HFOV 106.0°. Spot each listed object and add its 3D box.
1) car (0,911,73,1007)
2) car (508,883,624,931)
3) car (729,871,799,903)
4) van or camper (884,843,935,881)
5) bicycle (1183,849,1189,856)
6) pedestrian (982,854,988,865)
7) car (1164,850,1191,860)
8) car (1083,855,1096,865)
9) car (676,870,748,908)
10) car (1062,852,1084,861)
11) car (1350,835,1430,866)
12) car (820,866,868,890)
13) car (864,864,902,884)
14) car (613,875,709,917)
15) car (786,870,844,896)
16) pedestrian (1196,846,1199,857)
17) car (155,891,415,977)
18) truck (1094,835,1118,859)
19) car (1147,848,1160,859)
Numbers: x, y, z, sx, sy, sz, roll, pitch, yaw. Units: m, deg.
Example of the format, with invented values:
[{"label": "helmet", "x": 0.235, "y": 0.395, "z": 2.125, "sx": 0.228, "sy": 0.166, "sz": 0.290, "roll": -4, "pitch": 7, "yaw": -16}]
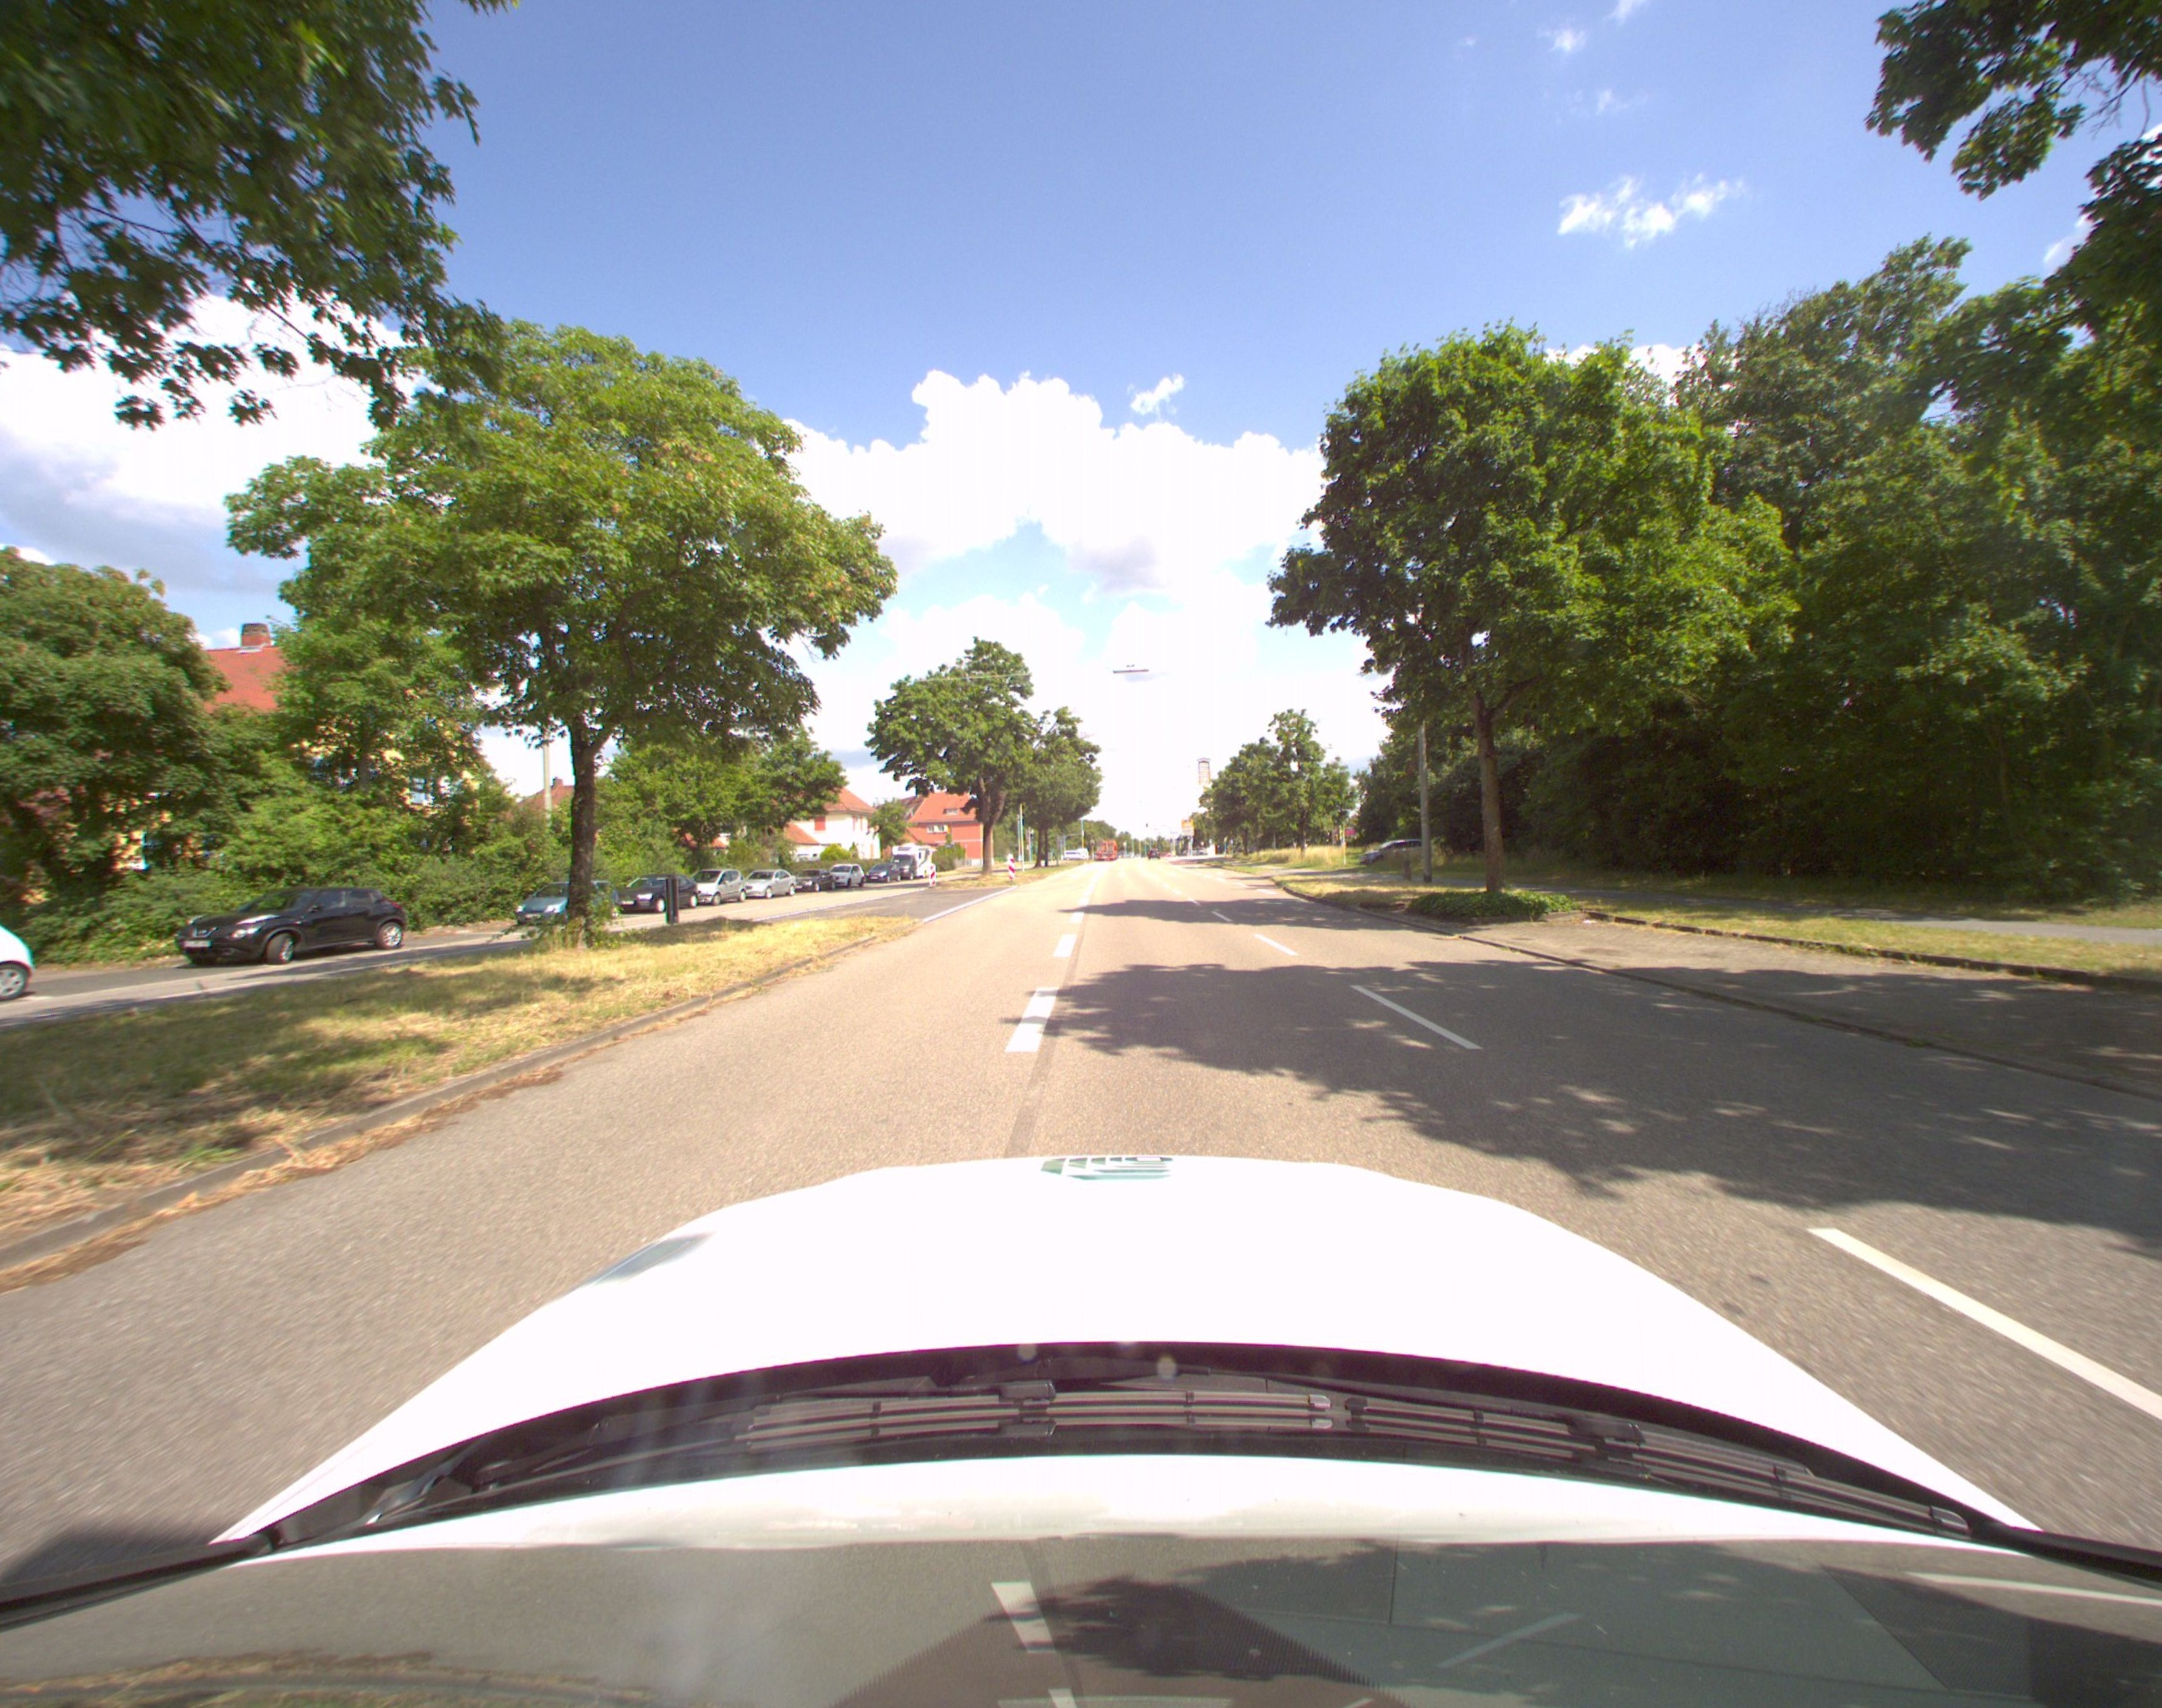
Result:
[{"label": "car", "x": -17.859, "y": 1.669, "z": 11.799, "sx": 1.654, "sy": 1.451, "sz": 3.848, "roll": 0, "pitch": -1, "yaw": 1}, {"label": "car", "x": -17.074, "y": 1.710, "z": 27.213, "sx": 1.556, "sy": 1.395, "sz": 3.479, "roll": 0, "pitch": -1, "yaw": 2}, {"label": "car", "x": -16.075, "y": 1.643, "z": 41.579, "sx": 1.504, "sy": 1.370, "sz": 4.537, "roll": 0, "pitch": 0, "yaw": 4}, {"label": "van or camper", "x": -14.440, "y": 0.593, "z": 69.206, "sx": 2.248, "sy": 3.112, "sz": 7.329, "roll": 0, "pitch": 1, "yaw": 4}, {"label": "bicycle", "x": 17.428, "y": -0.269, "z": 135.452, "sx": 0.642, "sy": 1.107, "sz": 1.938, "roll": -1, "pitch": -1, "yaw": 20}, {"label": "pedestrian", "x": -13.325, "y": 0.771, "z": 112.902, "sx": 0.693, "sy": 1.583, "sz": 0.852, "roll": 0, "pitch": -1, "yaw": 4}, {"label": "car", "x": 14.094, "y": 0.091, "z": 118.707, "sx": 3.577, "sy": 1.442, "sz": 1.469, "roll": 0, "pitch": -1, "yaw": -14}, {"label": "car", "x": 1.361, "y": 0.995, "z": 135.833, "sx": 1.725, "sy": 1.508, "sz": 4.658, "roll": -5, "pitch": -1, "yaw": 4}, {"label": "car", "x": -16.517, "y": 1.539, "z": 36.627, "sx": 1.397, "sy": 1.557, "sz": 3.744, "roll": 0, "pitch": 0, "yaw": 2}, {"label": "car", "x": -1.547, "y": 0.479, "z": 150.340, "sx": 3.971, "sy": 1.651, "sz": 1.733, "roll": 0, "pitch": -1, "yaw": 2}, {"label": "car", "x": 18.925, "y": -0.222, "z": 49.928, "sx": 4.155, "sy": 1.493, "sz": 1.782, "roll": -5, "pitch": 2, "yaw": -4}, {"label": "car", "x": -15.577, "y": 1.530, "z": 53.676, "sx": 1.681, "sy": 1.485, "sz": 4.129, "roll": 0, "pitch": -1, "yaw": 4}, {"label": "car", "x": -14.977, "y": 1.485, "z": 61.710, "sx": 1.629, "sy": 1.485, "sz": 3.997, "roll": 0, "pitch": -1, "yaw": 4}, {"label": "car", "x": -16.559, "y": 1.617, "z": 32.384, "sx": 1.397, "sy": 1.395, "sz": 4.359, "roll": 0, "pitch": 0, "yaw": 2}, {"label": "car", "x": -15.646, "y": 1.682, "z": 48.160, "sx": 1.629, "sy": 1.306, "sz": 4.589, "roll": 0, "pitch": 0, "yaw": 4}, {"label": "pedestrian", "x": 19.037, "y": -0.375, "z": 132.675, "sx": 0.461, "sy": 1.779, "sz": 0.484, "roll": 0, "pitch": -1, "yaw": 15}, {"label": "car", "x": -17.397, "y": 1.671, "z": 18.133, "sx": 1.654, "sy": 1.481, "sz": 4.105, "roll": 0, "pitch": 0, "yaw": 1}, {"label": "truck", "x": 3.854, "y": -0.969, "z": 123.212, "sx": 3.057, "sy": 3.414, "sz": 11.080, "roll": 0, "pitch": -1, "yaw": 4}, {"label": "car", "x": 10.981, "y": -0.094, "z": 123.555, "sx": 1.791, "sy": 1.552, "sz": 4.004, "roll": 0, "pitch": -1, "yaw": 4}]
